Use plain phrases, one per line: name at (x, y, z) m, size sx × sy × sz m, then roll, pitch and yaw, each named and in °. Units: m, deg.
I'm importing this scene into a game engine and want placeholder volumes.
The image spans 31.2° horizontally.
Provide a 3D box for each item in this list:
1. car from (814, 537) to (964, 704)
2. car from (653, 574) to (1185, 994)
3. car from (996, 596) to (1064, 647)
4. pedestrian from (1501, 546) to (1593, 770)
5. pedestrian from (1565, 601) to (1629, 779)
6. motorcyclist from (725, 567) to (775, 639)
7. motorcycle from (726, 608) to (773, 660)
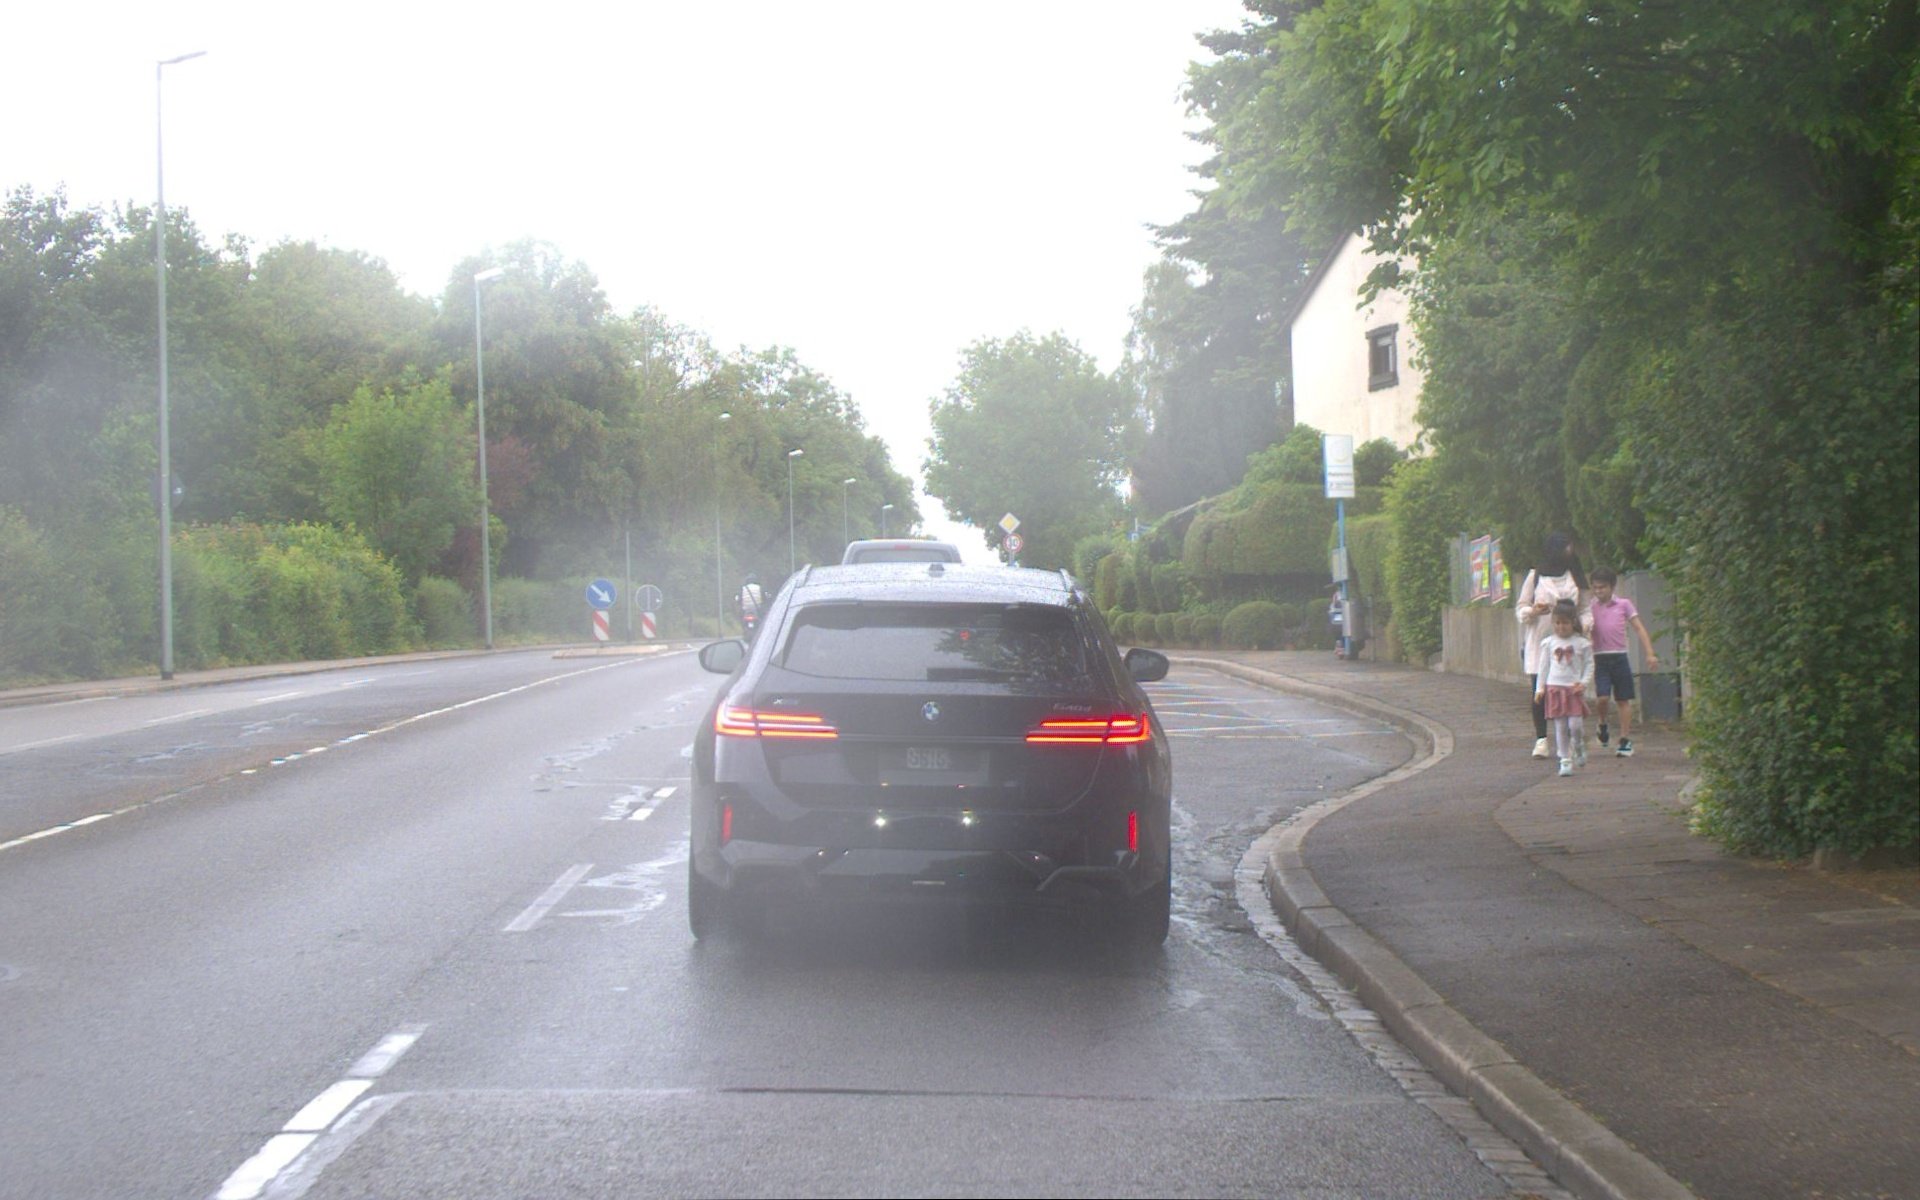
car at (-0.813, 0.214, 40.516) m, size 1.629 × 1.827 × 4.000 m, roll -2°, pitch 0°, yaw -1°
car at (-0.135, 0.665, 14.450) m, size 1.897 × 1.484 × 4.000 m, roll 1°, pitch 0°, yaw 0°
car at (2.124, 0.619, 103.053) m, size 1.935 × 1.437 × 4.407 m, roll -2°, pitch 0°, yaw 2°
pedestrian at (4.222, 0.409, 24.757) m, size 0.610 × 1.588 × 0.646 m, roll -1°, pitch 0°, yaw 8°
pedestrian at (4.131, 0.580, 22.308) m, size 0.367 × 1.142 × 0.366 m, roll -1°, pitch 0°, yaw 8°
motorcyclist at (-4.627, 0.076, 75.806) m, size 1.039 × 1.562 × 0.855 m, roll 1°, pitch -1°, yaw -1°
motorcycle at (-4.630, 0.748, 75.804) m, size 0.876 × 1.120 × 2.741 m, roll 1°, pitch 0°, yaw -1°
